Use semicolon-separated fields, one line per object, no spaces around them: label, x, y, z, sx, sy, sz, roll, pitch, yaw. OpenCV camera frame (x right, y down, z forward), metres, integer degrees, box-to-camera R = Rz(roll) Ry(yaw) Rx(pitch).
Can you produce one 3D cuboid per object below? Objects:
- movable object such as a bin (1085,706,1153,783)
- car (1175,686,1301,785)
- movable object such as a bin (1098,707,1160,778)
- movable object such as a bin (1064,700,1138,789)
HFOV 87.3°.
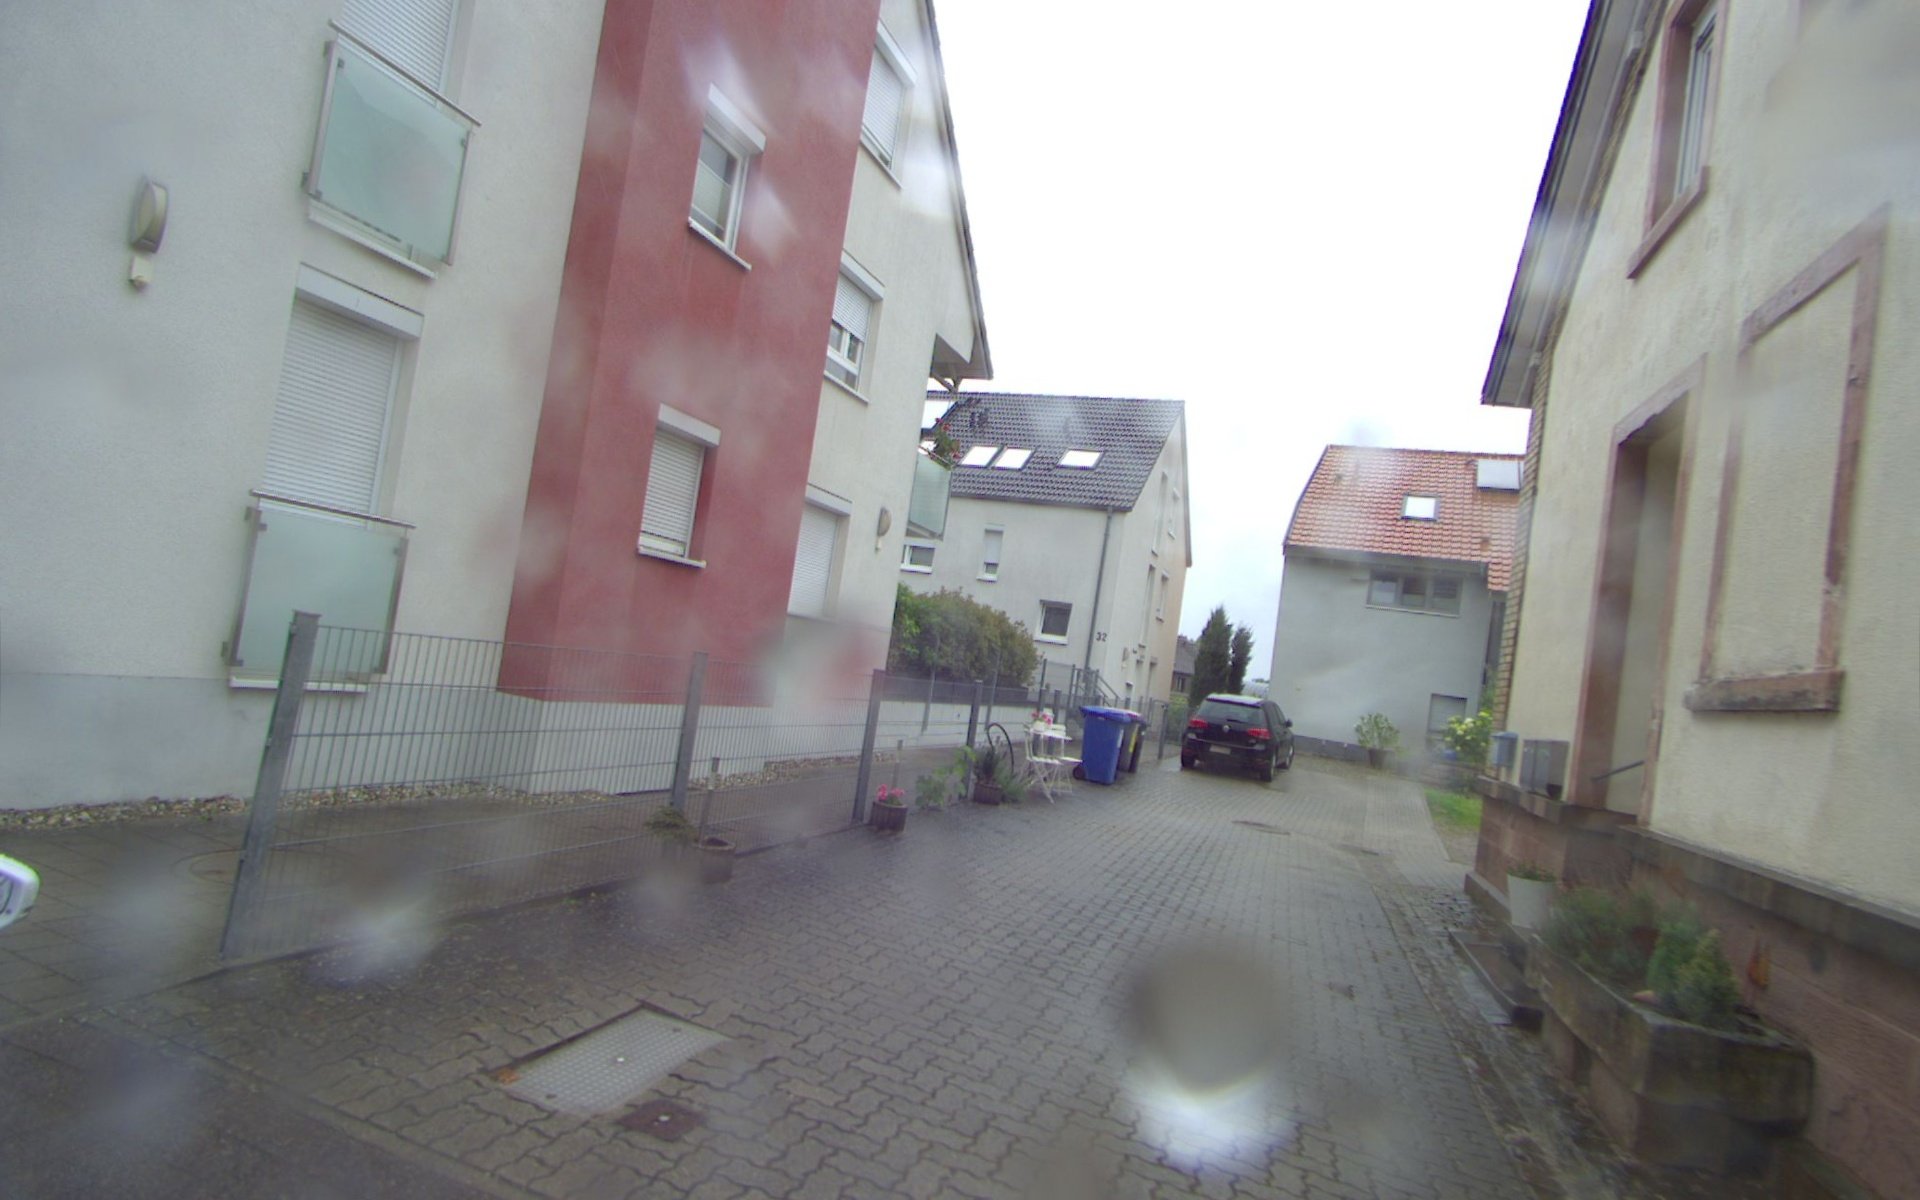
movable object such as a bin;2.486;2.242;15.713;0.788;1.049;0.730;7;-4;21
car;5.568;2.580;19.884;1.665;1.480;3.569;6;0;26
movable object such as a bin;2.853;2.402;16.970;0.788;1.049;0.730;7;-4;21
movable object such as a bin;2.071;2.094;14.687;0.788;1.146;0.730;7;-4;21
